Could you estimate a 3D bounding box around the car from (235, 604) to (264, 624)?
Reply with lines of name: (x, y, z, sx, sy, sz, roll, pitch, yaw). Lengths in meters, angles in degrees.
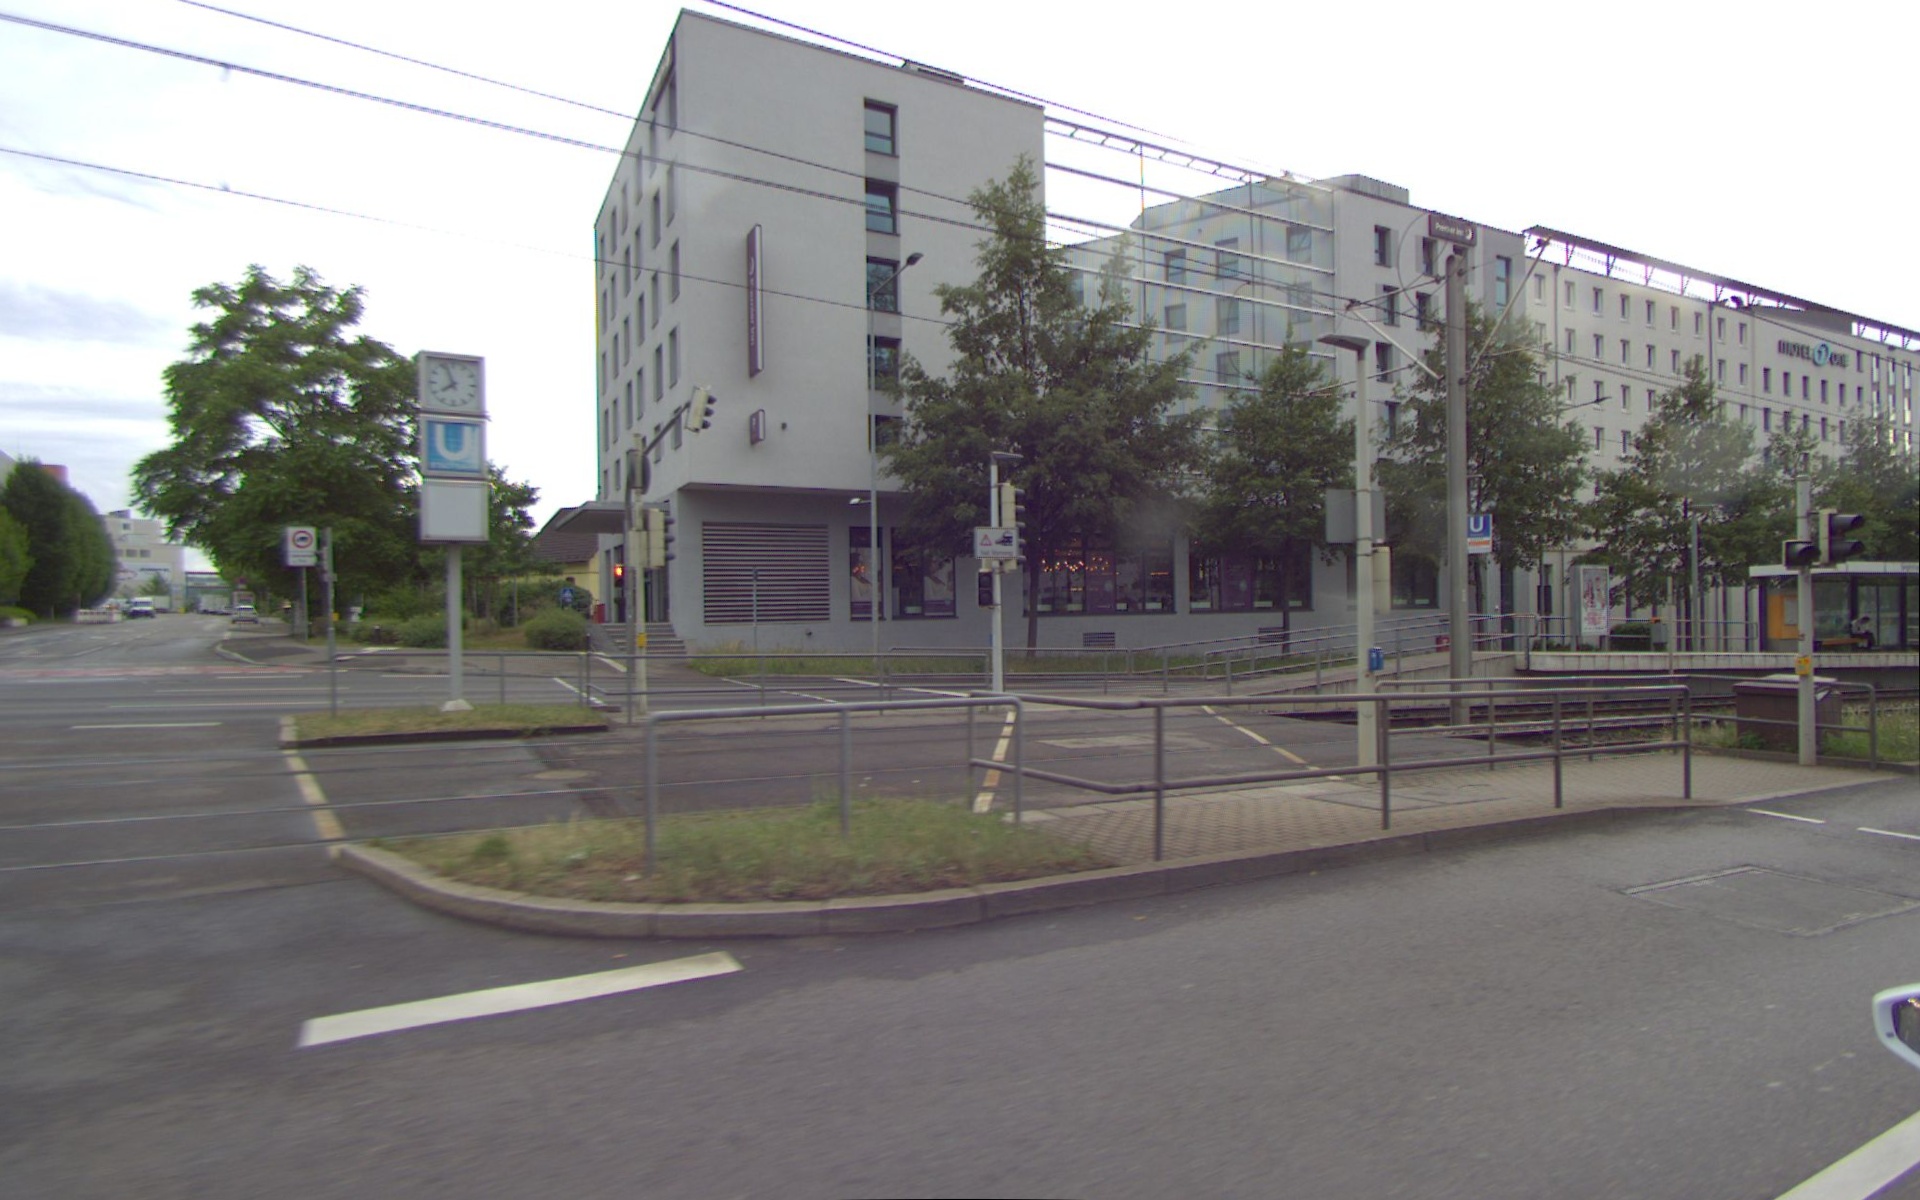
car: (-59.186, 1.150, 83.713, 1.856, 1.617, 3.936, 2, -1, -35)

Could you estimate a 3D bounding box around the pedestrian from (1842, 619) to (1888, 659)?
pedestrian: (30.178, 1.300, 33.496, 0.676, 1.317, 0.957, 2, -1, -28)

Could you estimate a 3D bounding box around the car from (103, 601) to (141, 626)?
car: (-76.885, 1.212, 92.188, 2.217, 2.040, 3.961, 3, 0, -34)

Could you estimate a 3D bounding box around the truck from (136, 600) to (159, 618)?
truck: (-99.617, 1.116, 123.155, 2.201, 2.040, 4.688, 2, -1, -39)
